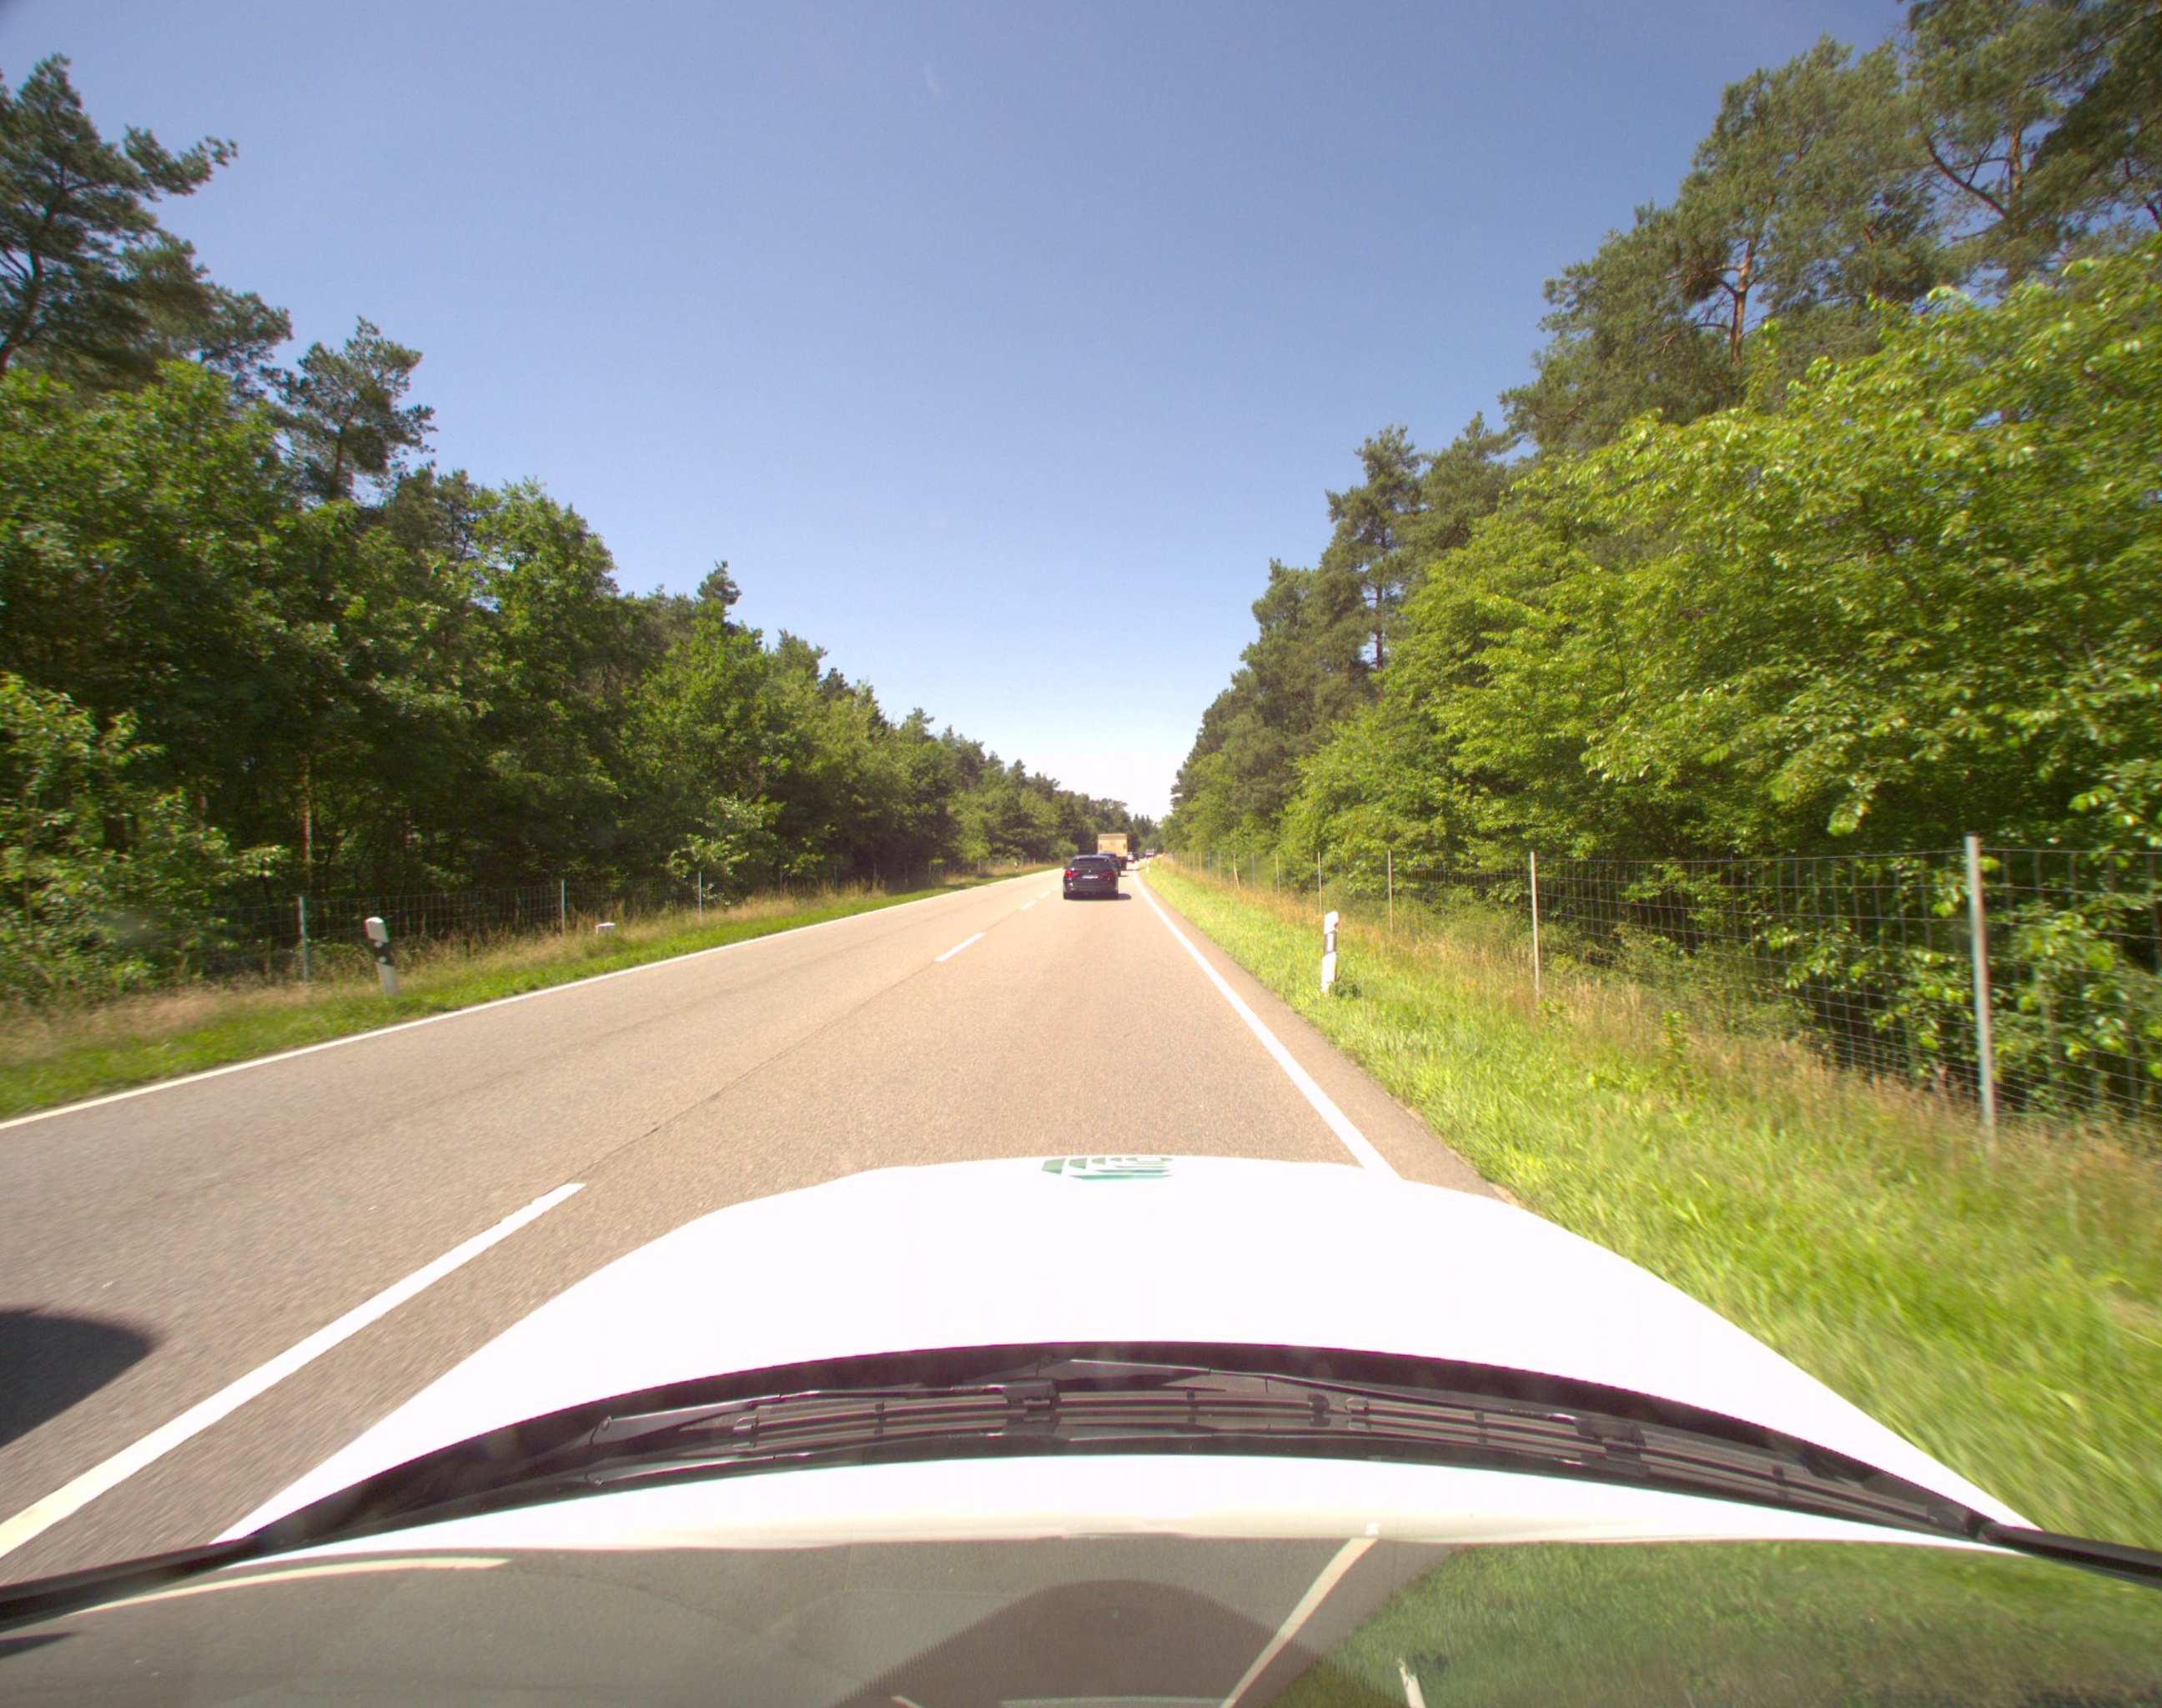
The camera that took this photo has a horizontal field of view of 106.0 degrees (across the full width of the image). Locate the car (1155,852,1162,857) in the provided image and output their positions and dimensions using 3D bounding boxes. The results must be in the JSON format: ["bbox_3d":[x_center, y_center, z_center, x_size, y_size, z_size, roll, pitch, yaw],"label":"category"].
[{"bbox_3d":[22.690,0.108,237.922,1.784,1.354,3.939,-2,0,9],"label":"car"}]

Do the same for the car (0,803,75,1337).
[{"bbox_3d":[-4.297,0.695,0.626,1.856,1.629,4.094,-1,0,2],"label":"car"}]

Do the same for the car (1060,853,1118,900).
[{"bbox_3d":[0.280,0.736,28.293,1.814,1.470,4.000,-2,0,1],"label":"car"}]

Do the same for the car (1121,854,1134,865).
[{"bbox_3d":[6.885,0.817,120.166,1.855,1.605,4.003,-2,0,2],"label":"car"}]

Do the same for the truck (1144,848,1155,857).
[{"bbox_3d":[17.548,-0.307,207.749,2.550,2.202,4.983,-2,0,6],"label":"truck"}]

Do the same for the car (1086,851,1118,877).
[{"bbox_3d":[1.435,0.628,54.097,1.939,1.542,4.003,-2,0,2],"label":"car"}]

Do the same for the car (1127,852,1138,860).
[{"bbox_3d":[9.274,0.407,146.727,1.985,1.420,4.003,0,0,2],"label":"car"}]

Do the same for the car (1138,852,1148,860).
[{"bbox_3d":[13.927,0.411,183.272,1.983,1.636,4.007,-2,0,6],"label":"car"}]

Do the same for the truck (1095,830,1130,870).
[{"bbox_3d":[2.789,-0.335,73.223,2.955,3.387,6.439,-1,0,1],"label":"truck"}]
